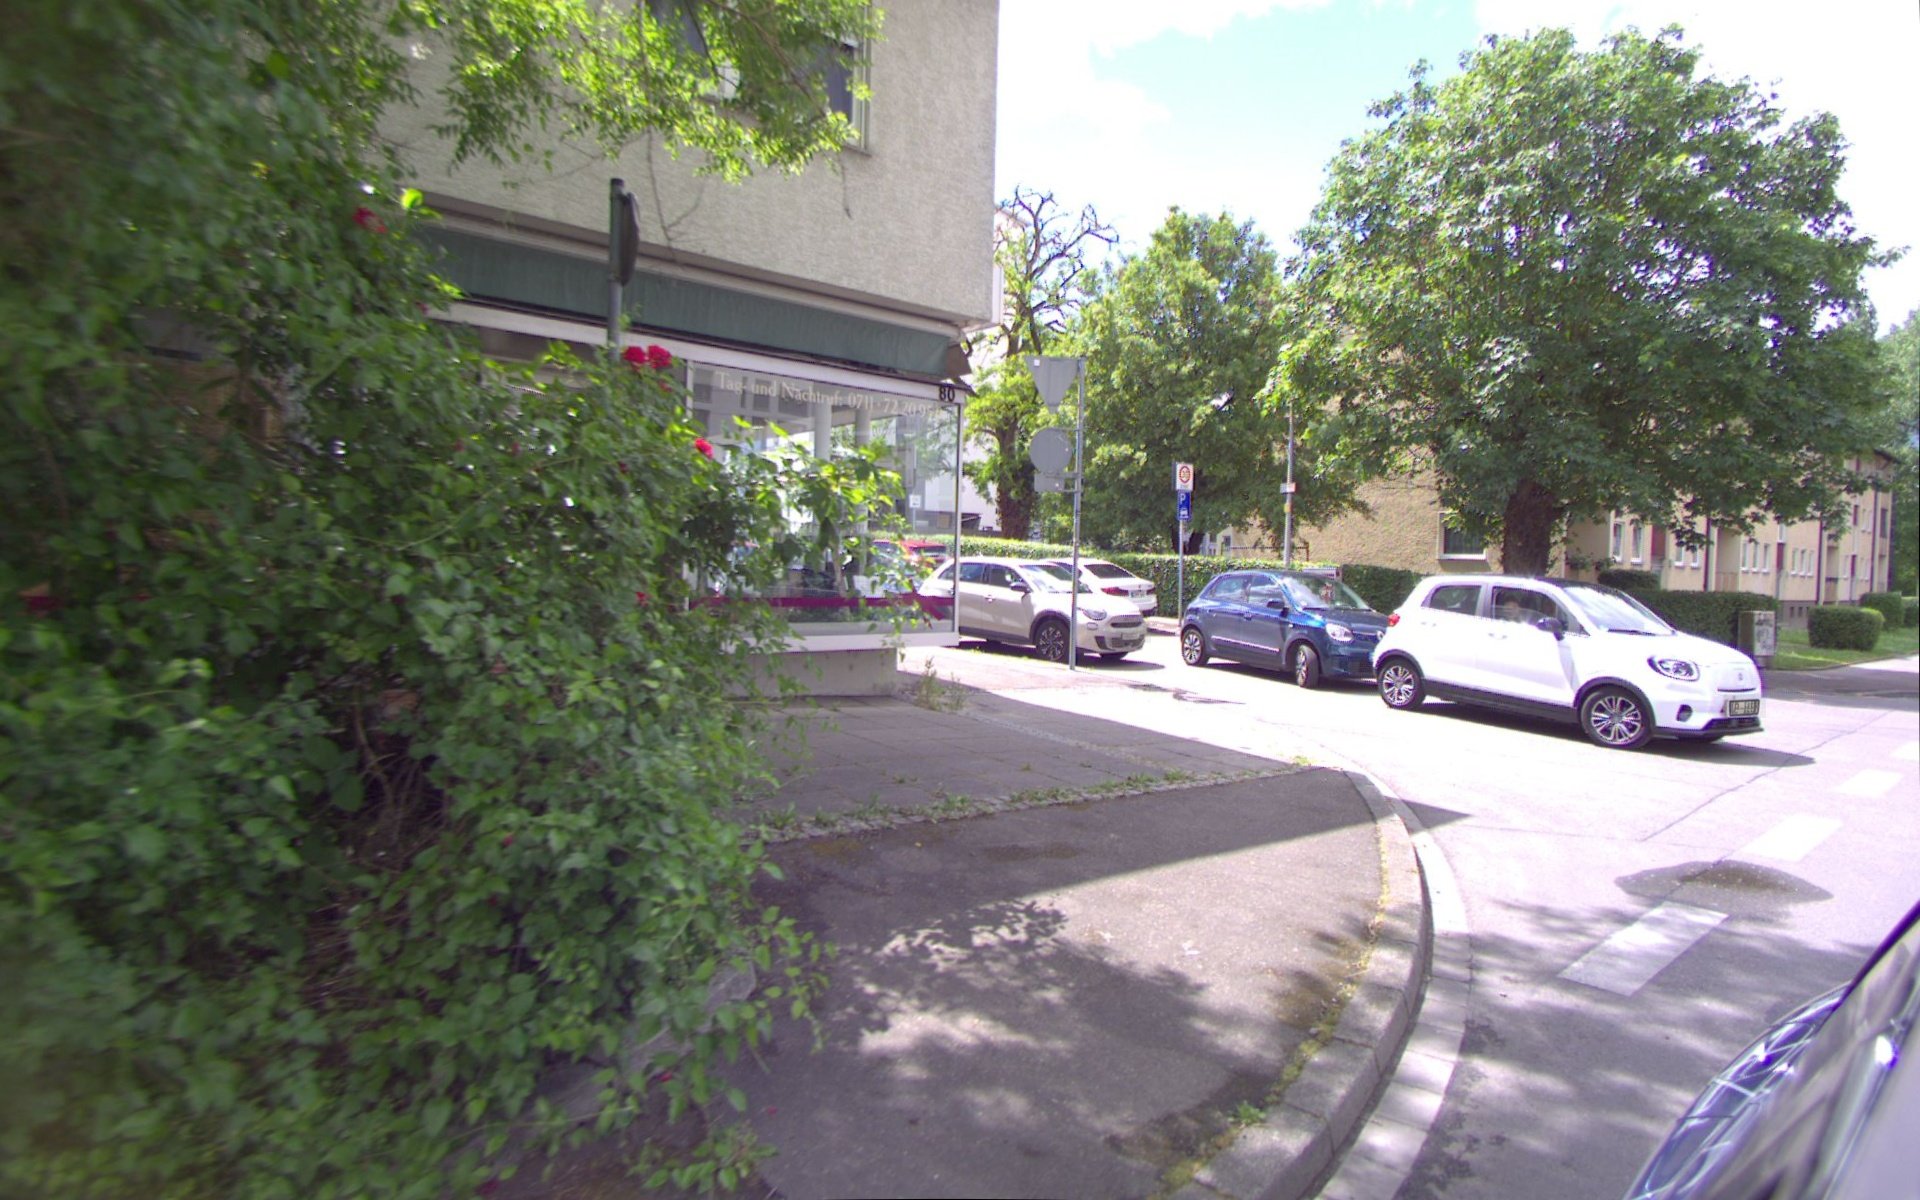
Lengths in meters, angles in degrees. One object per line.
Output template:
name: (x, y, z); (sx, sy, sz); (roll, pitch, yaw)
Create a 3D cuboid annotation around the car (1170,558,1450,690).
car: (4.921, 0.249, 14.767); (1.803, 1.590, 3.658); (1, 3, -23)

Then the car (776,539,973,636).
car: (-1.768, -0.338, 19.899); (1.880, 1.590, 3.917); (-3, 6, -42)

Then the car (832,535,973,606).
car: (-1.695, -0.860, 28.297); (1.793, 1.733, 4.247); (1, 4, -38)

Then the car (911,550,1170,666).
car: (1.205, 0.051, 16.386); (1.773, 1.537, 3.929); (1, 3, -45)

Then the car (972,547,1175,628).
car: (2.478, -0.334, 23.120); (1.820, 1.522, 4.532); (1, 3, -41)

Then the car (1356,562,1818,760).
car: (6.321, 0.474, 10.653); (1.804, 1.590, 3.656); (1, 3, -28)
